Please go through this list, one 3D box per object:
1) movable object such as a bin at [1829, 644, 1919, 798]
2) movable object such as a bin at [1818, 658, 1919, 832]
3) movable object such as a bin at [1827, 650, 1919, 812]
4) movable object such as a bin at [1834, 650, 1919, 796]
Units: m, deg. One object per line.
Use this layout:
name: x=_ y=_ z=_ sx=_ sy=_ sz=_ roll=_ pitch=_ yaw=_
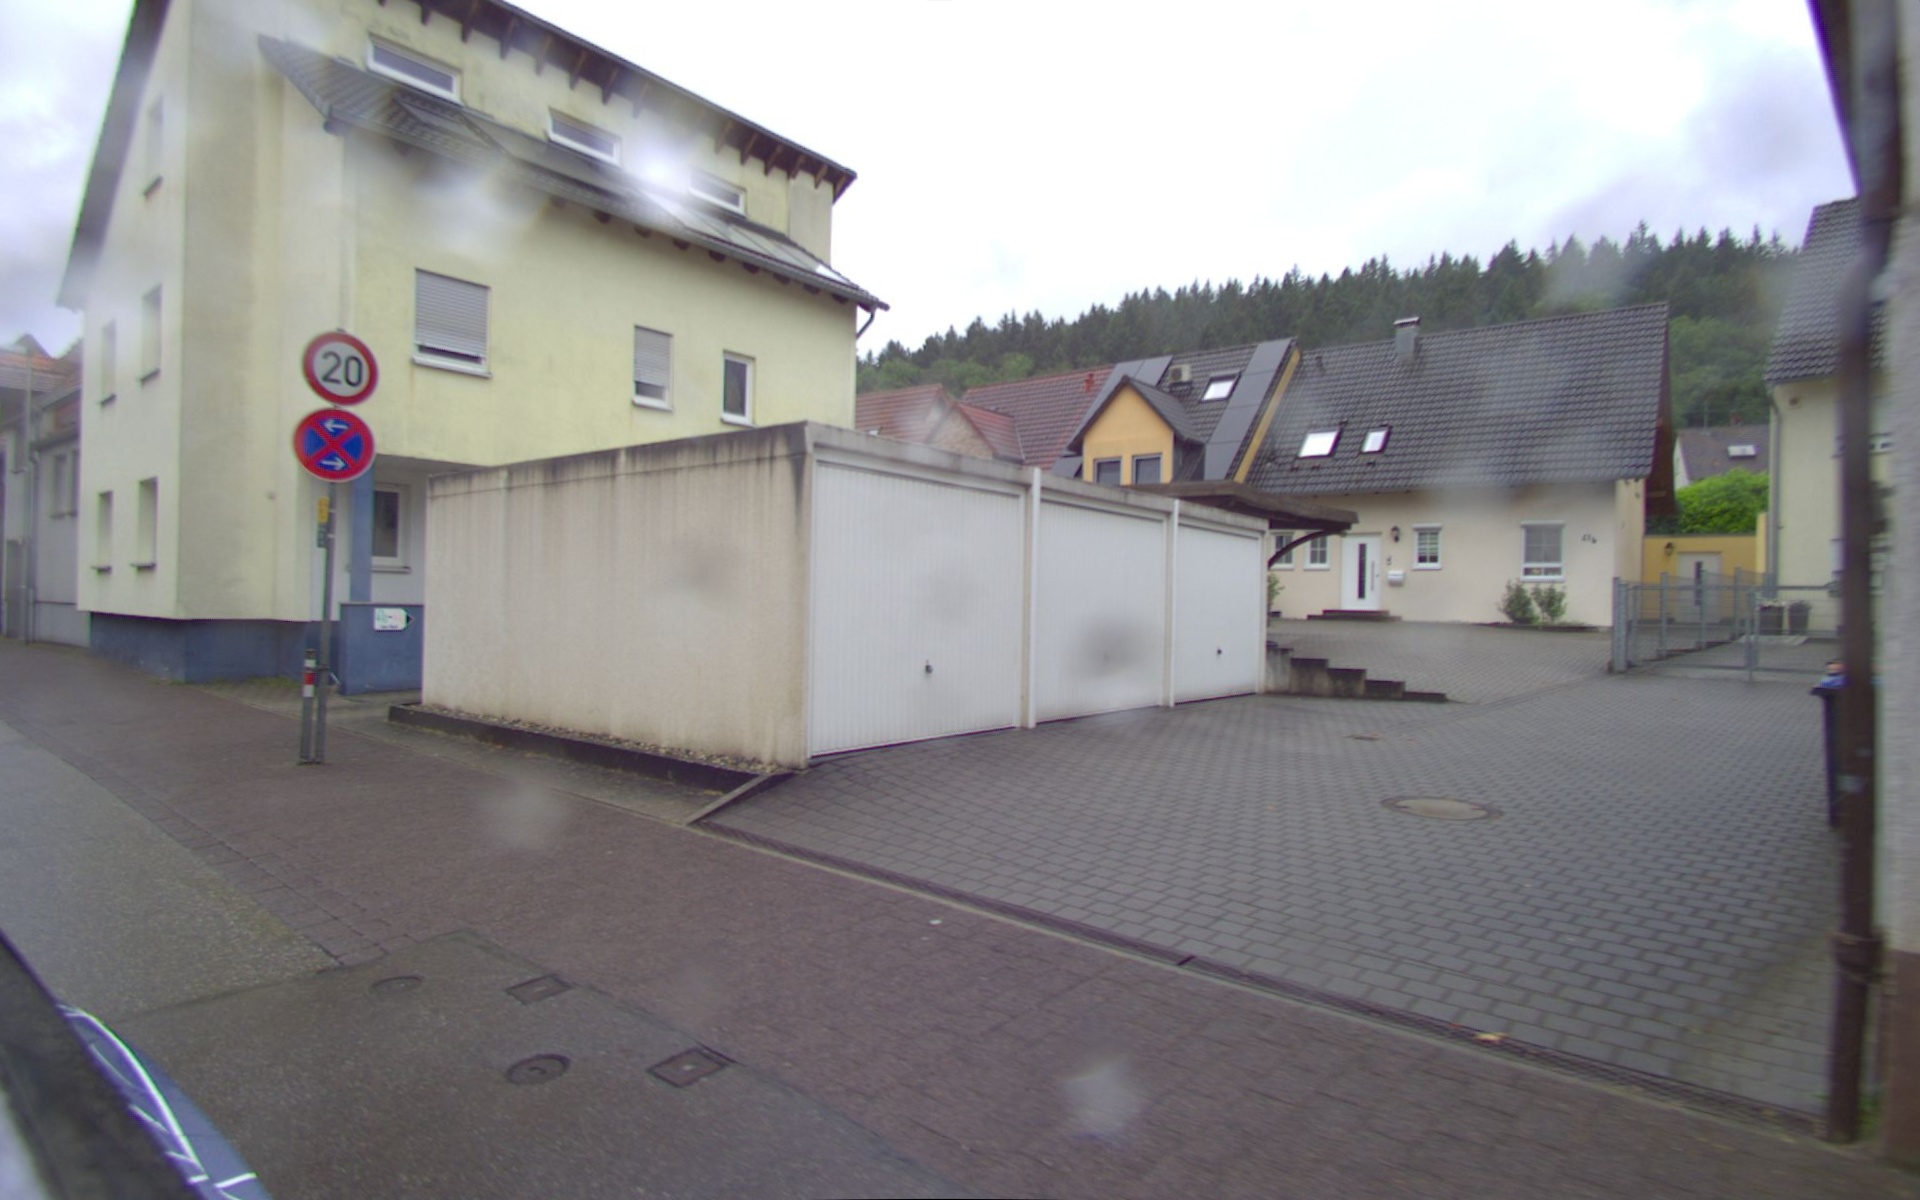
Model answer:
movable object such as a bin: x=6.229 y=0.797 z=6.849 sx=0.508 sy=0.957 sz=0.445 roll=1 pitch=1 yaw=43
movable object such as a bin: x=5.585 y=0.859 z=6.144 sx=0.554 sy=0.957 sz=0.483 roll=1 pitch=1 yaw=43
movable object such as a bin: x=5.921 y=0.820 z=6.502 sx=0.508 sy=0.957 sz=0.445 roll=1 pitch=1 yaw=43
movable object such as a bin: x=6.558 y=0.855 z=7.189 sx=0.508 sy=0.957 sz=0.445 roll=1 pitch=1 yaw=43
